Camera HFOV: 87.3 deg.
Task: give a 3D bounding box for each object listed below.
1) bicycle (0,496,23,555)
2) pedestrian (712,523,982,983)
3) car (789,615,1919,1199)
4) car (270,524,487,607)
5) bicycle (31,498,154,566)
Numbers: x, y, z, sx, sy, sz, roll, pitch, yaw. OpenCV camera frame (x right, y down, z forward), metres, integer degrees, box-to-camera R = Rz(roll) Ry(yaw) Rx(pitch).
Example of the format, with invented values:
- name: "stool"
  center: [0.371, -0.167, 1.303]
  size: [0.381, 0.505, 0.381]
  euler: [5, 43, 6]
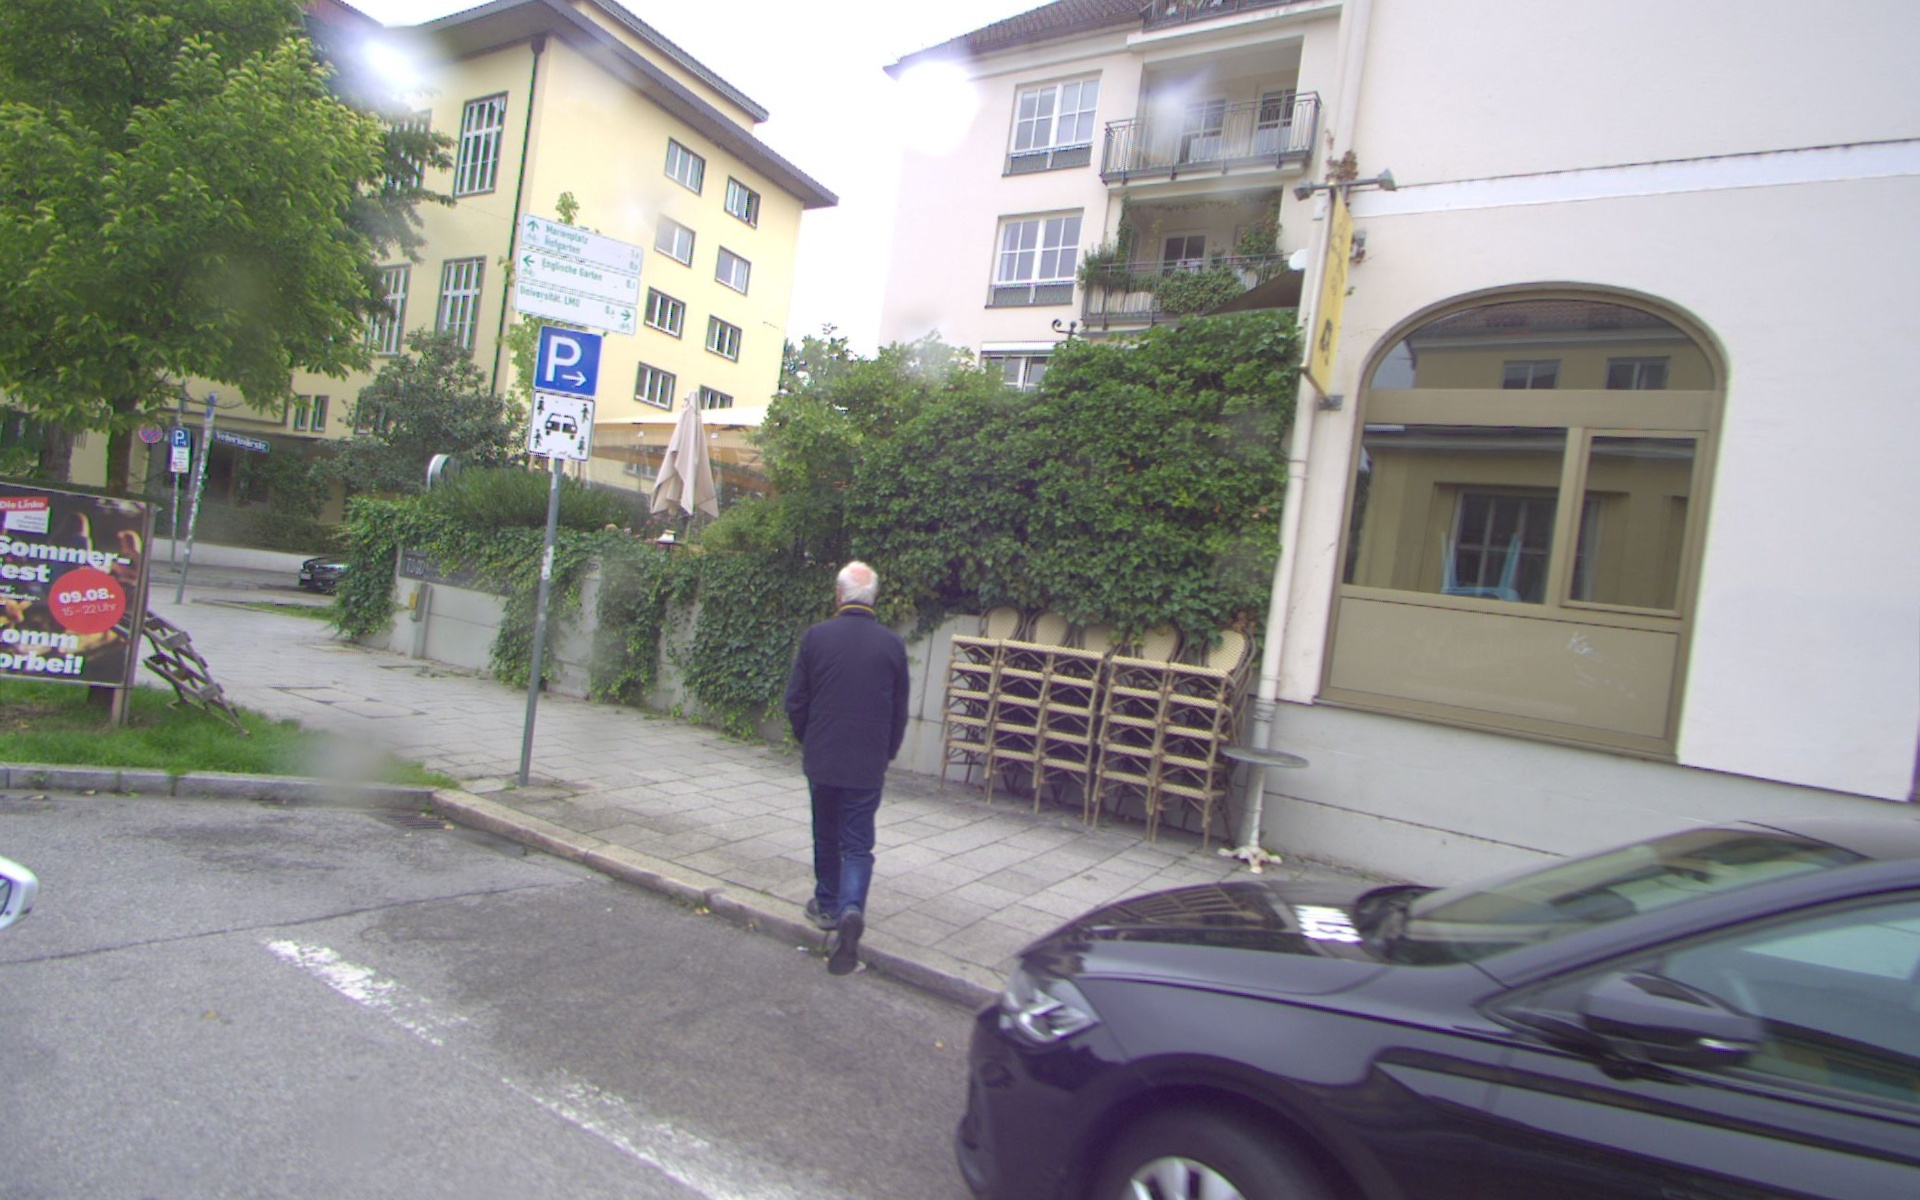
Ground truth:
- name: "bicycle"
  center: [-20.983, -1.695, 20.909]
  size: [2.057, 1.216, 0.589]
  euler: [9, 0, -37]
- name: "pedestrian"
  center: [-0.535, 0.623, 4.536]
  size: [0.919, 1.825, 0.954]
  euler: [5, 3, -11]
- name: "car"
  center: [1.929, 1.092, 2.159]
  size: [4.230, 1.403, 1.684]
  euler: [8, -4, 28]
- name: "car"
  center: [-14.224, -0.795, 24.845]
  size: [1.670, 1.463, 4.250]
  euler: [6, -1, 33]
- name: "bicycle"
  center: [-19.506, -1.509, 22.665]
  size: [0.586, 1.216, 1.923]
  euler: [8, 0, 35]
